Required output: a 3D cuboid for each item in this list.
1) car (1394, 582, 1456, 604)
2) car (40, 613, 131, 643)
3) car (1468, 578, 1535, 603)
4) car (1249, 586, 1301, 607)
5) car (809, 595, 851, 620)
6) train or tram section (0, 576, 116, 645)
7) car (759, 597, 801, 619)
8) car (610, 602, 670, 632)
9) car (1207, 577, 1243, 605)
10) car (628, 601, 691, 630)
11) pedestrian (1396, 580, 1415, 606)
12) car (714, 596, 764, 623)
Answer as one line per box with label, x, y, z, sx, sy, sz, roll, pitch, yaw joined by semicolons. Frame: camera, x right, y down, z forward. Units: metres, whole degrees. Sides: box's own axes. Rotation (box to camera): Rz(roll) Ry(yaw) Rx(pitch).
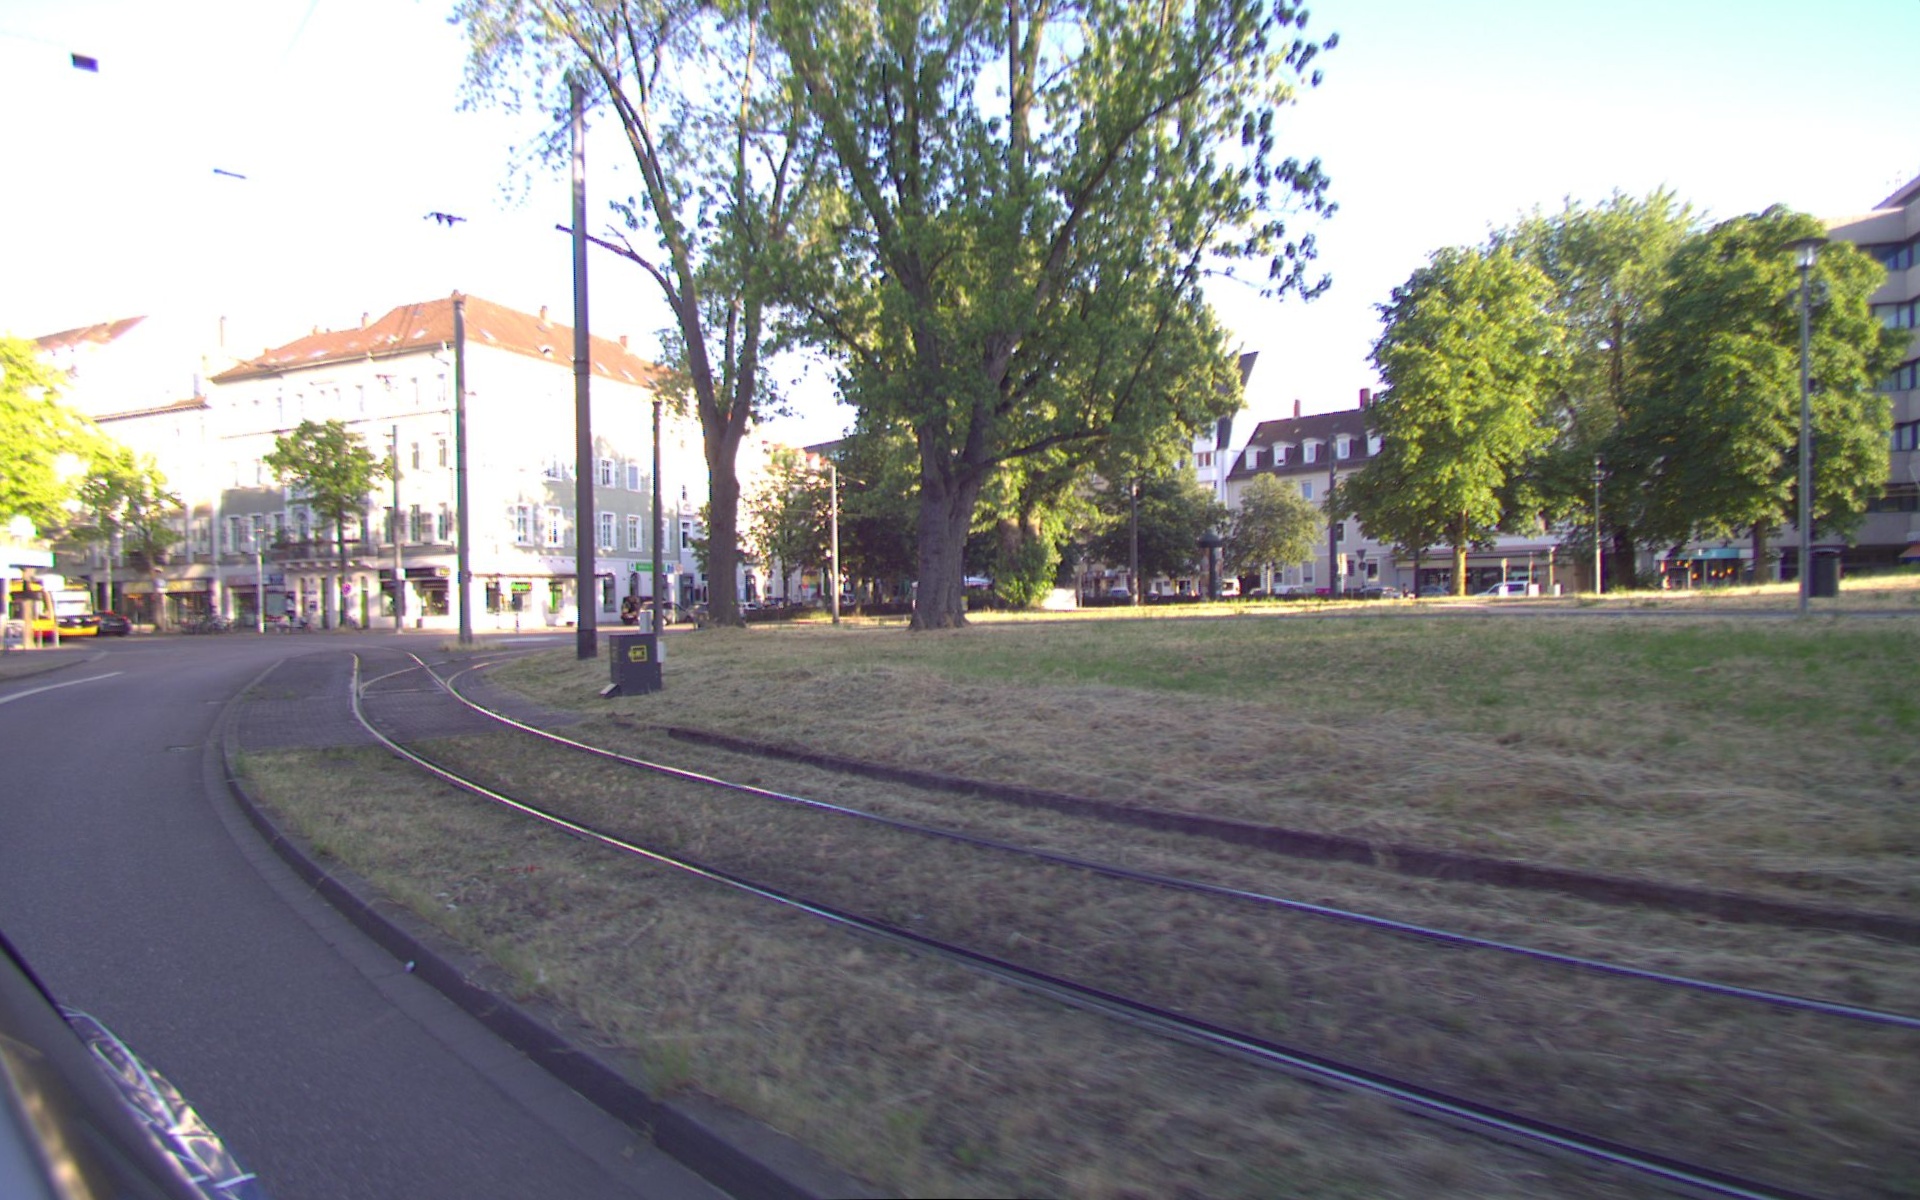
car;36.078;-0.526;78.585;1.770;1.592;4.005;-2;-1;-41
car;-53.209;1.706;61.608;4.702;1.696;1.989;0;0;17
car;39.913;-0.687;74.611;4.002;1.676;1.734;-3;-1;45
car;27.397;-0.299;88.085;1.770;1.592;4.005;-2;-1;-41
car;-10.791;0.608;84.306;1.844;2.014;3.976;-2;0;18
train or tram section;-52.846;0.599;56.018;13.260;3.611;2.932;-1;1;19
car;-15.315;0.656;86.181;1.844;1.719;3.976;-2;0;18
car;-21.969;1.133;69.619;1.984;1.918;3.976;-2;0;18
car;20.777;-0.722;79.152;1.988;2.029;3.967;-2;-1;25
car;-18.830;0.961;63.634;1.844;1.719;3.976;-2;0;18
pedestrian;29.429;-0.453;66.864;0.788;1.714;0.801;-1;-1;-43
car;-16.894;0.700;77.564;1.984;1.918;3.976;-2;0;18
